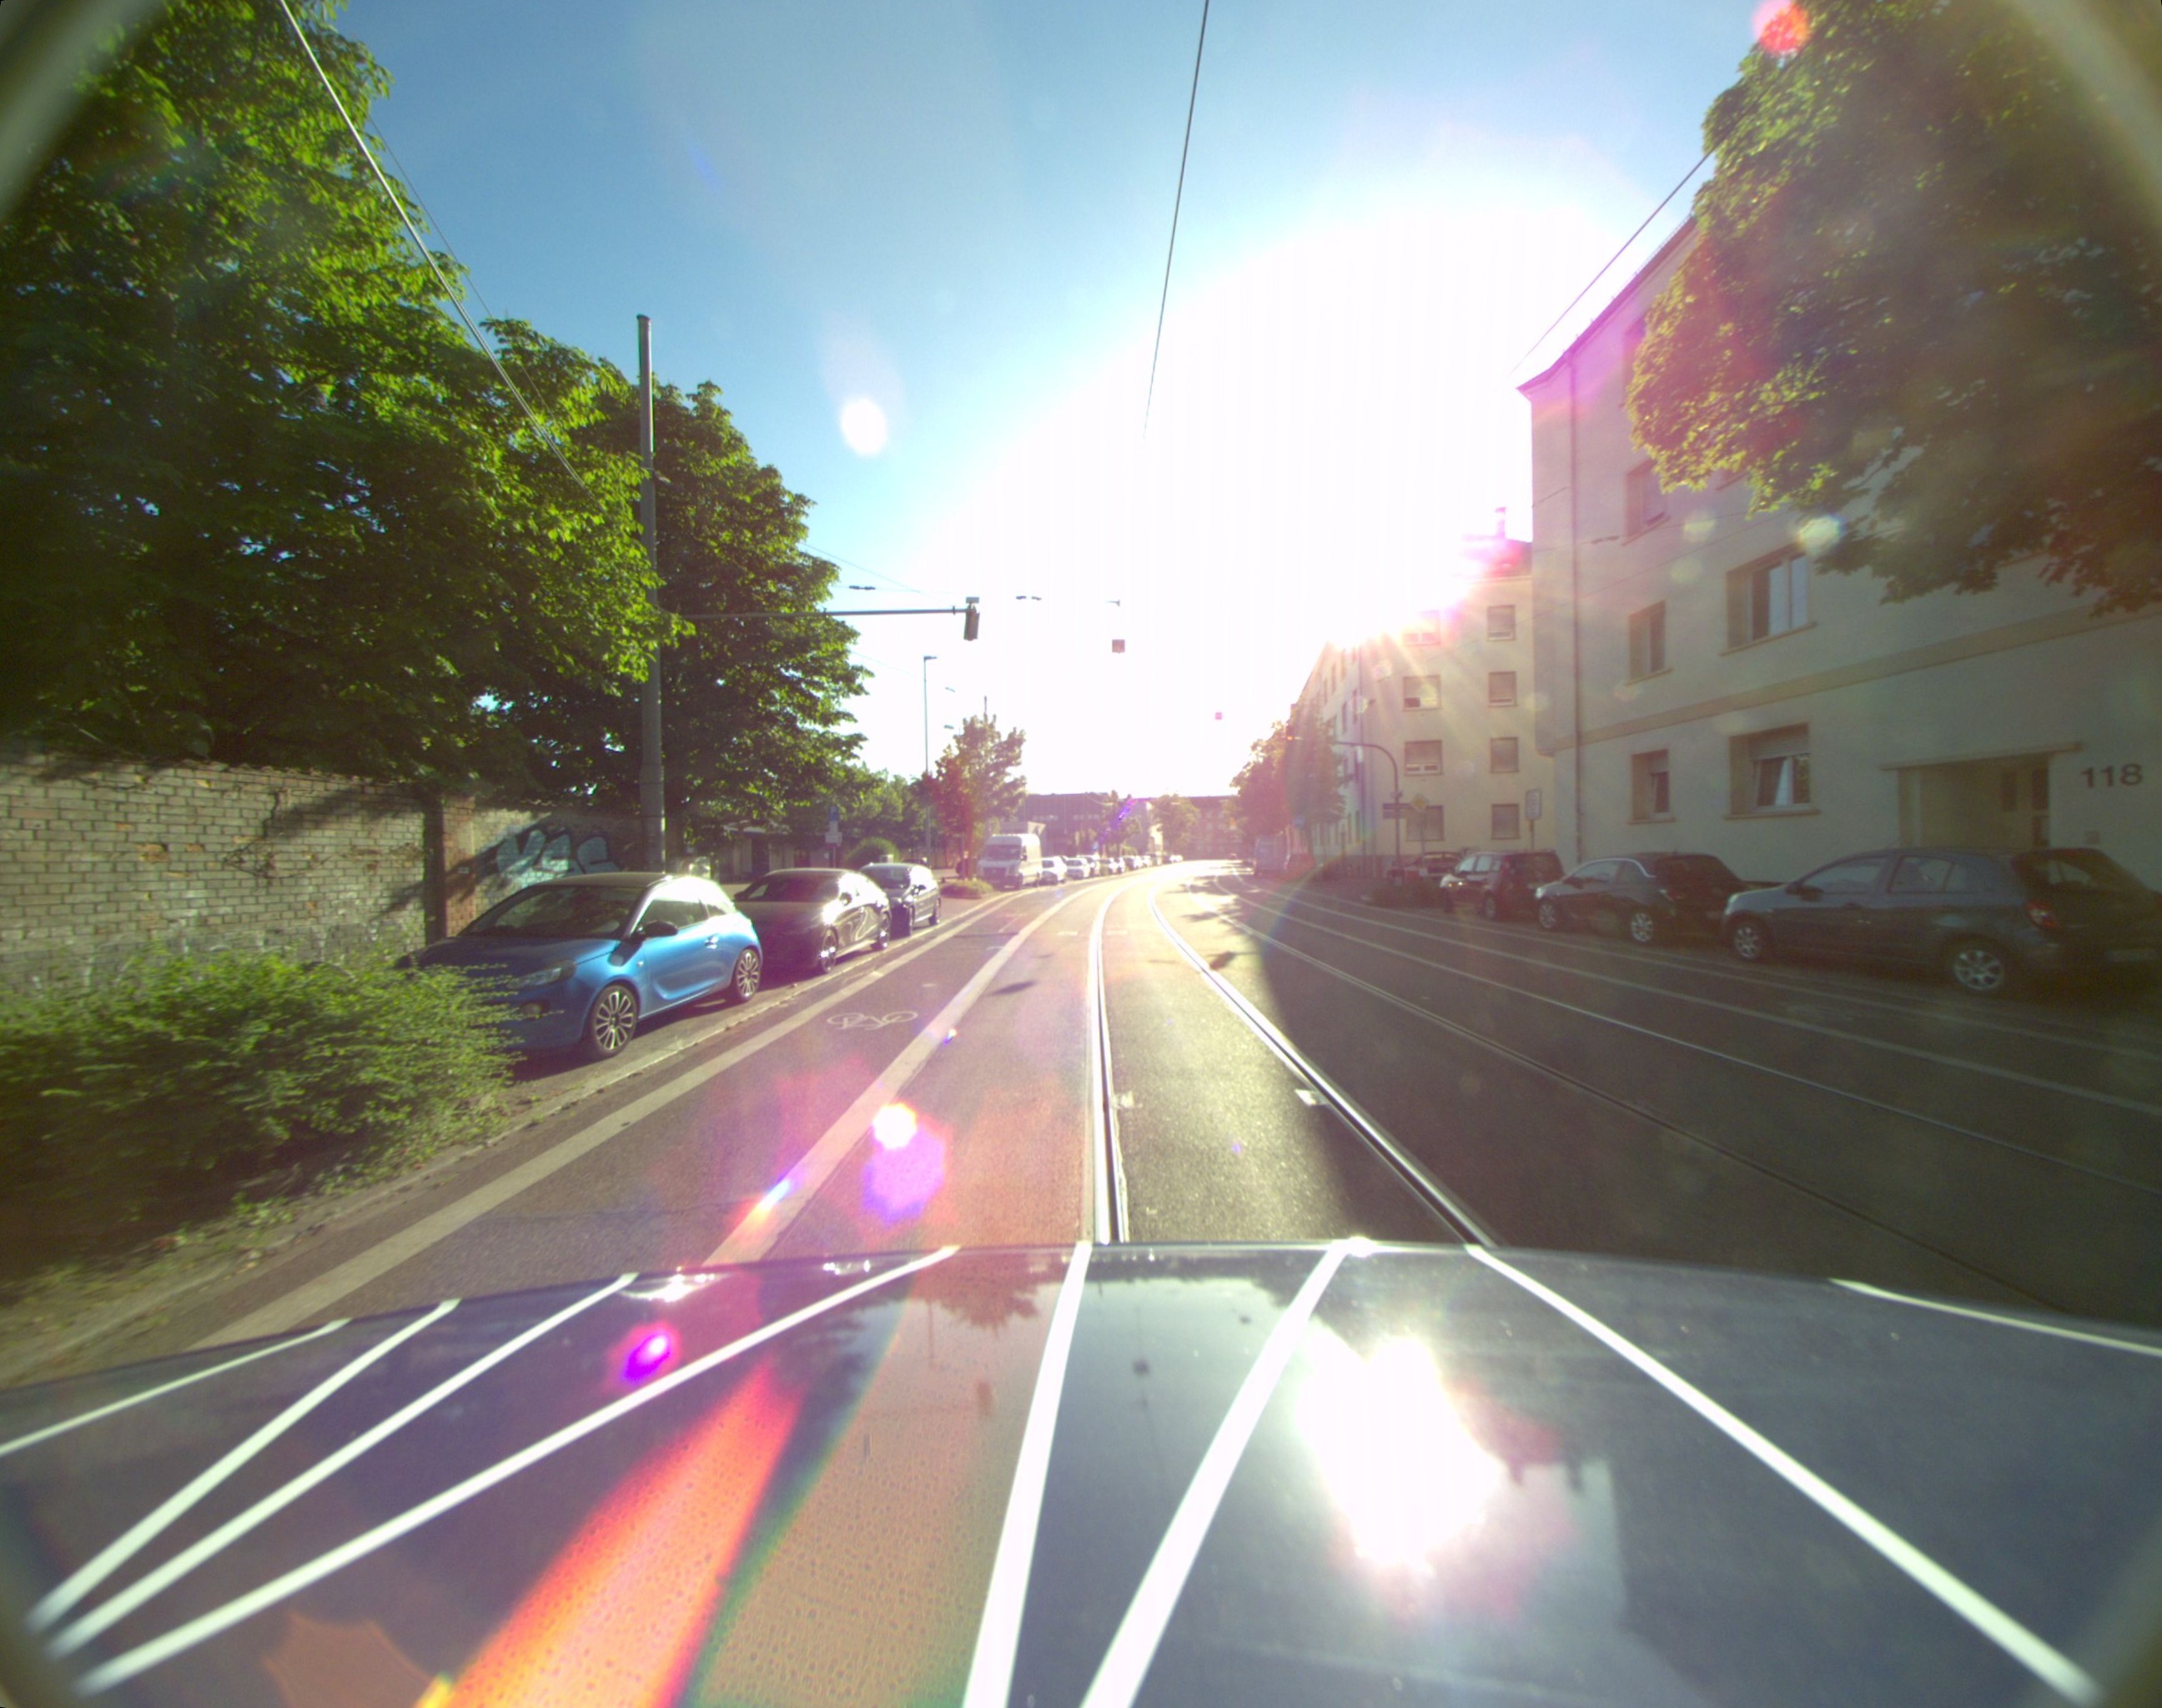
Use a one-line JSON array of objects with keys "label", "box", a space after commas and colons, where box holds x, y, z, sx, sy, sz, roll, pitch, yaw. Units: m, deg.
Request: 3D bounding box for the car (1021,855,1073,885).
[{"label": "car", "box": [-1.848, 0.856, 42.883, 1.913, 1.521, 4.603, -1, 1, 10]}]

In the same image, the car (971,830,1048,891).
[{"label": "car", "box": [-3.289, 0.240, 36.414, 2.184, 2.650, 6.095, 1, 1, 9]}]

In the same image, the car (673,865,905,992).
[{"label": "car", "box": [-4.259, 0.991, 11.932, 1.692, 1.521, 4.356, 0, 1, 4]}]

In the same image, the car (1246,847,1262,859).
[{"label": "car", "box": [23.525, -0.143, 103.137, 1.868, 1.482, 4.664, -3, 0, 11]}]

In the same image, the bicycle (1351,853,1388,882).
[{"label": "bicycle", "box": [13.179, 0.630, 34.716, 1.505, 1.222, 0.397, -3, 4, 3]}]

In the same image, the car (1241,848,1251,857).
[{"label": "car", "box": [28.636, -0.255, 132.226, 1.574, 1.496, 4.003, -3, 0, 11]}]

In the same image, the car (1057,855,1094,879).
[{"label": "car", "box": [-0.327, 0.841, 51.374, 1.731, 1.503, 4.255, 0, 1, 11]}]

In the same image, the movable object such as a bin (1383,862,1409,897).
[{"label": "movable object such as a bin", "box": [9.364, 0.751, 22.593, 0.486, 0.982, 0.660, -3, 1, 3]}]

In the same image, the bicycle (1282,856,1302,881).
[{"label": "bicycle", "box": [10.419, 0.698, 37.496, 0.513, 1.127, 2.031, -3, 0, 4]}]

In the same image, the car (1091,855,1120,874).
[{"label": "car", "box": [2.138, 0.849, 65.054, 1.731, 1.455, 4.501, -3, 0, 12]}]

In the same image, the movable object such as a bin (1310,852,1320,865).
[{"label": "movable object such as a bin", "box": [17.595, 0.340, 57.162, 0.597, 0.929, 0.569, -1, 1, 8]}]

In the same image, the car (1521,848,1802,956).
[{"label": "car", "box": [9.596, 0.690, 13.017, 1.791, 1.521, 3.857, -2, 0, -2]}]

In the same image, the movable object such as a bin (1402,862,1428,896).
[{"label": "movable object such as a bin", "box": [9.916, 0.739, 22.555, 0.486, 0.982, 0.660, -3, 1, 3]}]

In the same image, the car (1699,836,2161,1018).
[{"label": "car", "box": [9.652, 0.664, 8.897, 1.595, 1.604, 3.730, -3, 0, -4]}]

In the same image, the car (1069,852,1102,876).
[{"label": "car", "box": [0.383, 0.707, 56.501, 1.731, 1.595, 4.345, 1, 1, 11]}]

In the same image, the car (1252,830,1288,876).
[{"label": "car", "box": [12.661, -0.120, 51.232, 2.020, 2.809, 6.036, -3, 0, 12]}]

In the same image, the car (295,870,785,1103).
[{"label": "car", "box": [-4.627, 0.979, 7.381, 1.692, 1.521, 4.001, 0, 1, 4]}]

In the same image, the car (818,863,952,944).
[{"label": "car", "box": [-4.228, 0.996, 17.052, 1.692, 1.521, 4.001, 0, 1, 4]}]

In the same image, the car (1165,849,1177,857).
[{"label": "car", "box": [16.299, -0.217, 137.225, 1.705, 1.473, 4.662, 1, 1, 11]}]

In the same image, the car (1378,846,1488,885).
[{"label": "car", "box": [15.032, 0.494, 32.637, 3.894, 1.449, 1.769, -3, 1, 7]}]

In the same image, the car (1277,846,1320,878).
[{"label": "car", "box": [12.297, 0.390, 43.256, 1.794, 1.551, 4.645, -6, 0, 10]}]

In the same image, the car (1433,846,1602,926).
[{"label": "car", "box": [9.671, 0.631, 17.219, 1.692, 1.521, 4.001, -3, 0, 4]}]

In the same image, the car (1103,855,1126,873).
[{"label": "car", "box": [3.100, 0.914, 70.324, 1.731, 1.455, 4.343, -3, 0, 7]}]
